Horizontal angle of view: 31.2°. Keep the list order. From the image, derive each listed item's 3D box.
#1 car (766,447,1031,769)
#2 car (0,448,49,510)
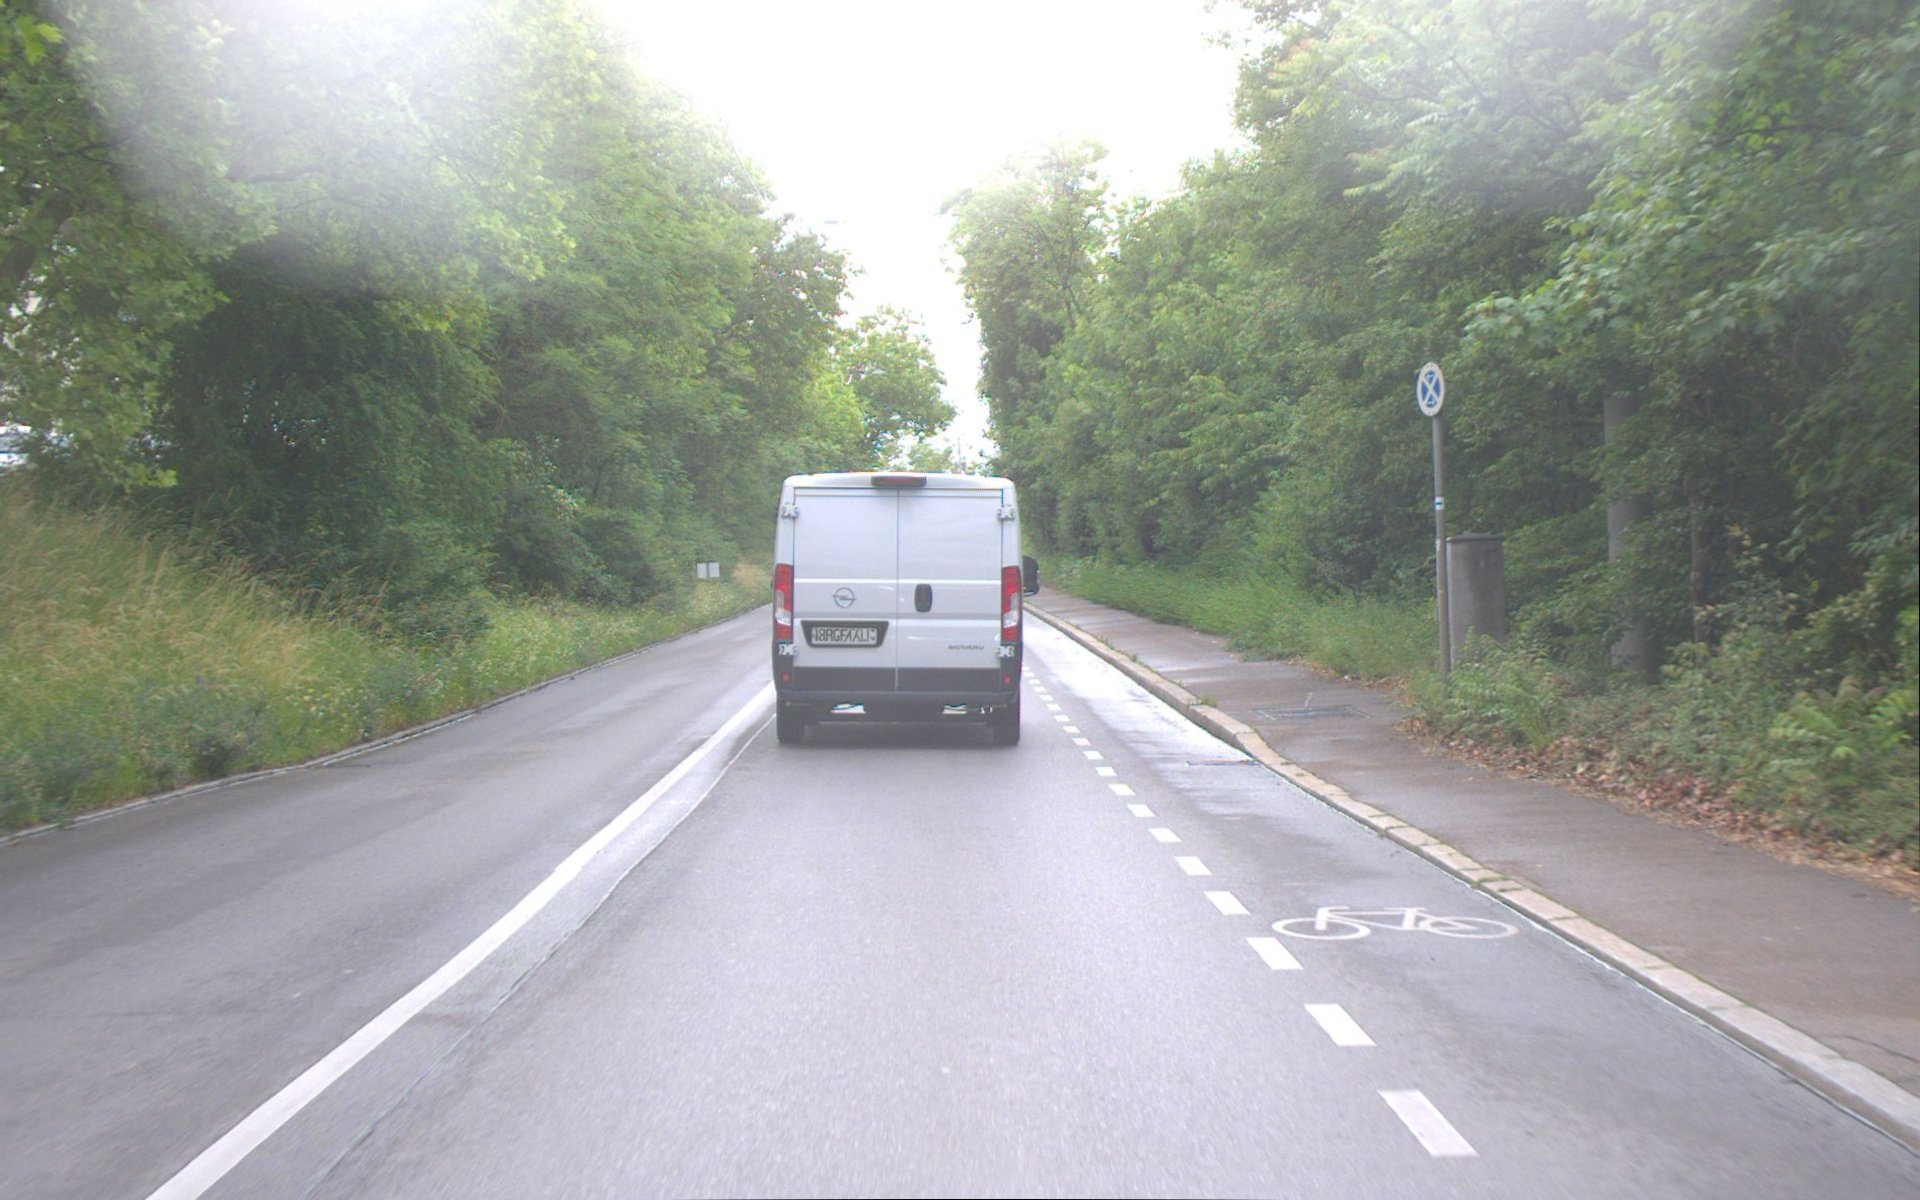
[{"bbox_3d":[-0.497,0.003,29.848,2.050,2.508,4.944,1,1,0],"label":"car"},{"bbox_3d":[-22.072,-2.757,79.076,1.599,1.246,2.911,-2,-1,-3],"label":"car"}]
